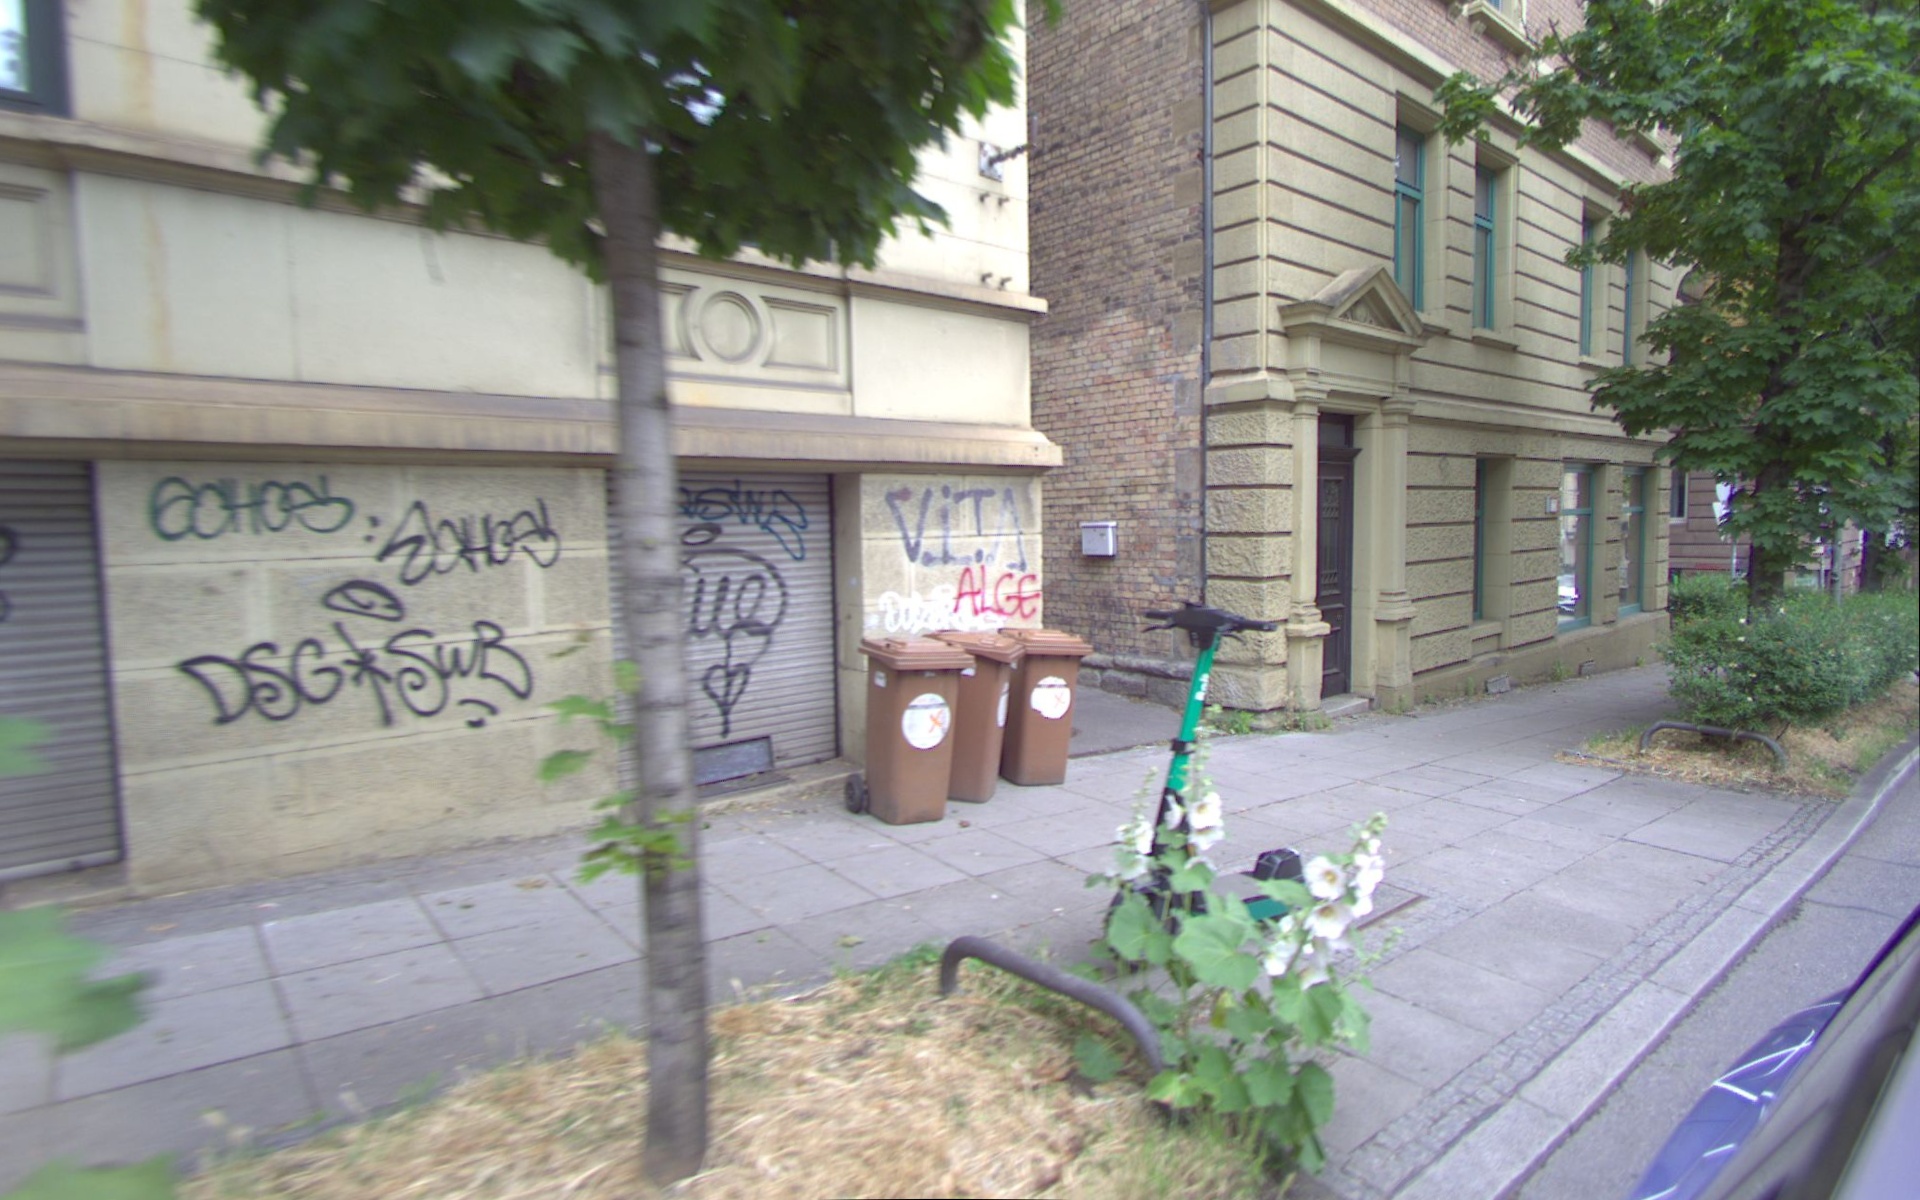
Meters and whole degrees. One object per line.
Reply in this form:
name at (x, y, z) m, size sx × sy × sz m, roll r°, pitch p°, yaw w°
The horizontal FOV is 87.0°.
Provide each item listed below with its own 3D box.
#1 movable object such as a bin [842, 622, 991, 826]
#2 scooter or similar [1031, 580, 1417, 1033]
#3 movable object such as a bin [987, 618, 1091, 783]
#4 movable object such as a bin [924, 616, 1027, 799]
movable object such as a bin at (-0.238, 0.614, 5.330) m, size 0.484 × 0.930 × 0.614 m, roll 0°, pitch 5°, yaw -38°
scooter or similar at (1.000, 0.612, 3.722) m, size 1.360 × 1.319 × 0.663 m, roll -1°, pitch 5°, yaw -41°
movable object such as a bin at (0.480, 0.598, 6.241) m, size 0.434 × 0.930 × 0.503 m, roll 1°, pitch 2°, yaw -21°
movable object such as a bin at (0.096, 0.587, 5.758) m, size 0.493 × 0.930 × 0.492 m, roll 3°, pitch 4°, yaw 8°
